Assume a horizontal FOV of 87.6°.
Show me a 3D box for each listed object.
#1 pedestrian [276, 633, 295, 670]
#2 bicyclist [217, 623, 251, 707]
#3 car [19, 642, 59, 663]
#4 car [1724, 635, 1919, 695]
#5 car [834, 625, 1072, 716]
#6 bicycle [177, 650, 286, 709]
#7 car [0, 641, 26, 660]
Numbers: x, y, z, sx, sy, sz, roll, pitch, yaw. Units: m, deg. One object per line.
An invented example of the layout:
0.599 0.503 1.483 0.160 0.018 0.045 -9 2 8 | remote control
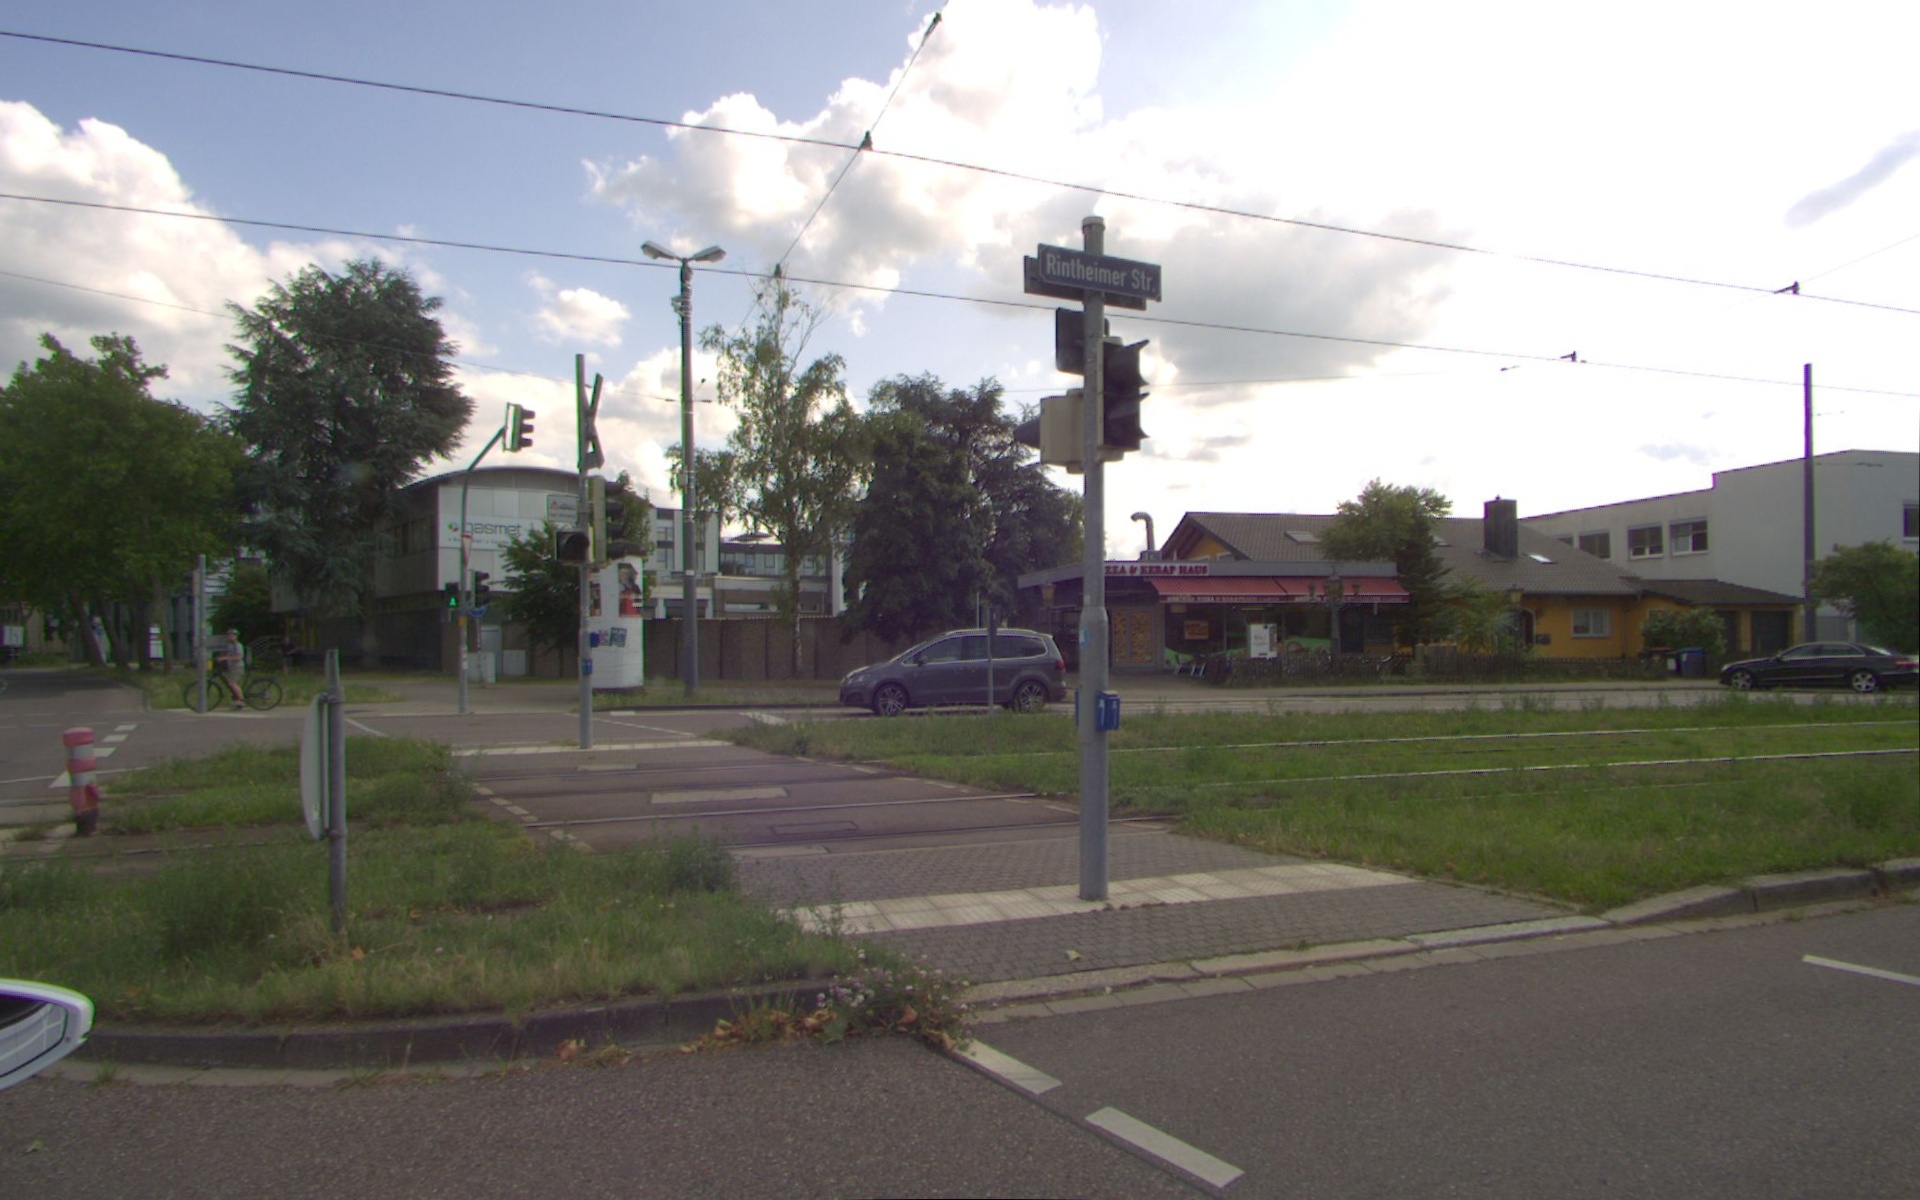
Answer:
-29.677 2.260 44.053 0.615 1.590 0.554 0 1 -40 | pedestrian
-16.284 1.440 22.466 0.537 1.833 0.538 1 1 -30 | bicyclist
-78.997 4.505 85.848 3.951 1.595 1.986 1 0 39 | car
25.234 1.858 28.976 1.973 1.599 4.556 1 -3 -32 | car
-0.207 1.421 20.901 4.652 1.744 1.999 0 -2 -12 | car
-16.299 1.756 22.461 1.925 1.252 0.538 1 0 -31 | bicycle
-88.457 4.692 92.983 3.951 1.595 1.986 1 0 39 | car
